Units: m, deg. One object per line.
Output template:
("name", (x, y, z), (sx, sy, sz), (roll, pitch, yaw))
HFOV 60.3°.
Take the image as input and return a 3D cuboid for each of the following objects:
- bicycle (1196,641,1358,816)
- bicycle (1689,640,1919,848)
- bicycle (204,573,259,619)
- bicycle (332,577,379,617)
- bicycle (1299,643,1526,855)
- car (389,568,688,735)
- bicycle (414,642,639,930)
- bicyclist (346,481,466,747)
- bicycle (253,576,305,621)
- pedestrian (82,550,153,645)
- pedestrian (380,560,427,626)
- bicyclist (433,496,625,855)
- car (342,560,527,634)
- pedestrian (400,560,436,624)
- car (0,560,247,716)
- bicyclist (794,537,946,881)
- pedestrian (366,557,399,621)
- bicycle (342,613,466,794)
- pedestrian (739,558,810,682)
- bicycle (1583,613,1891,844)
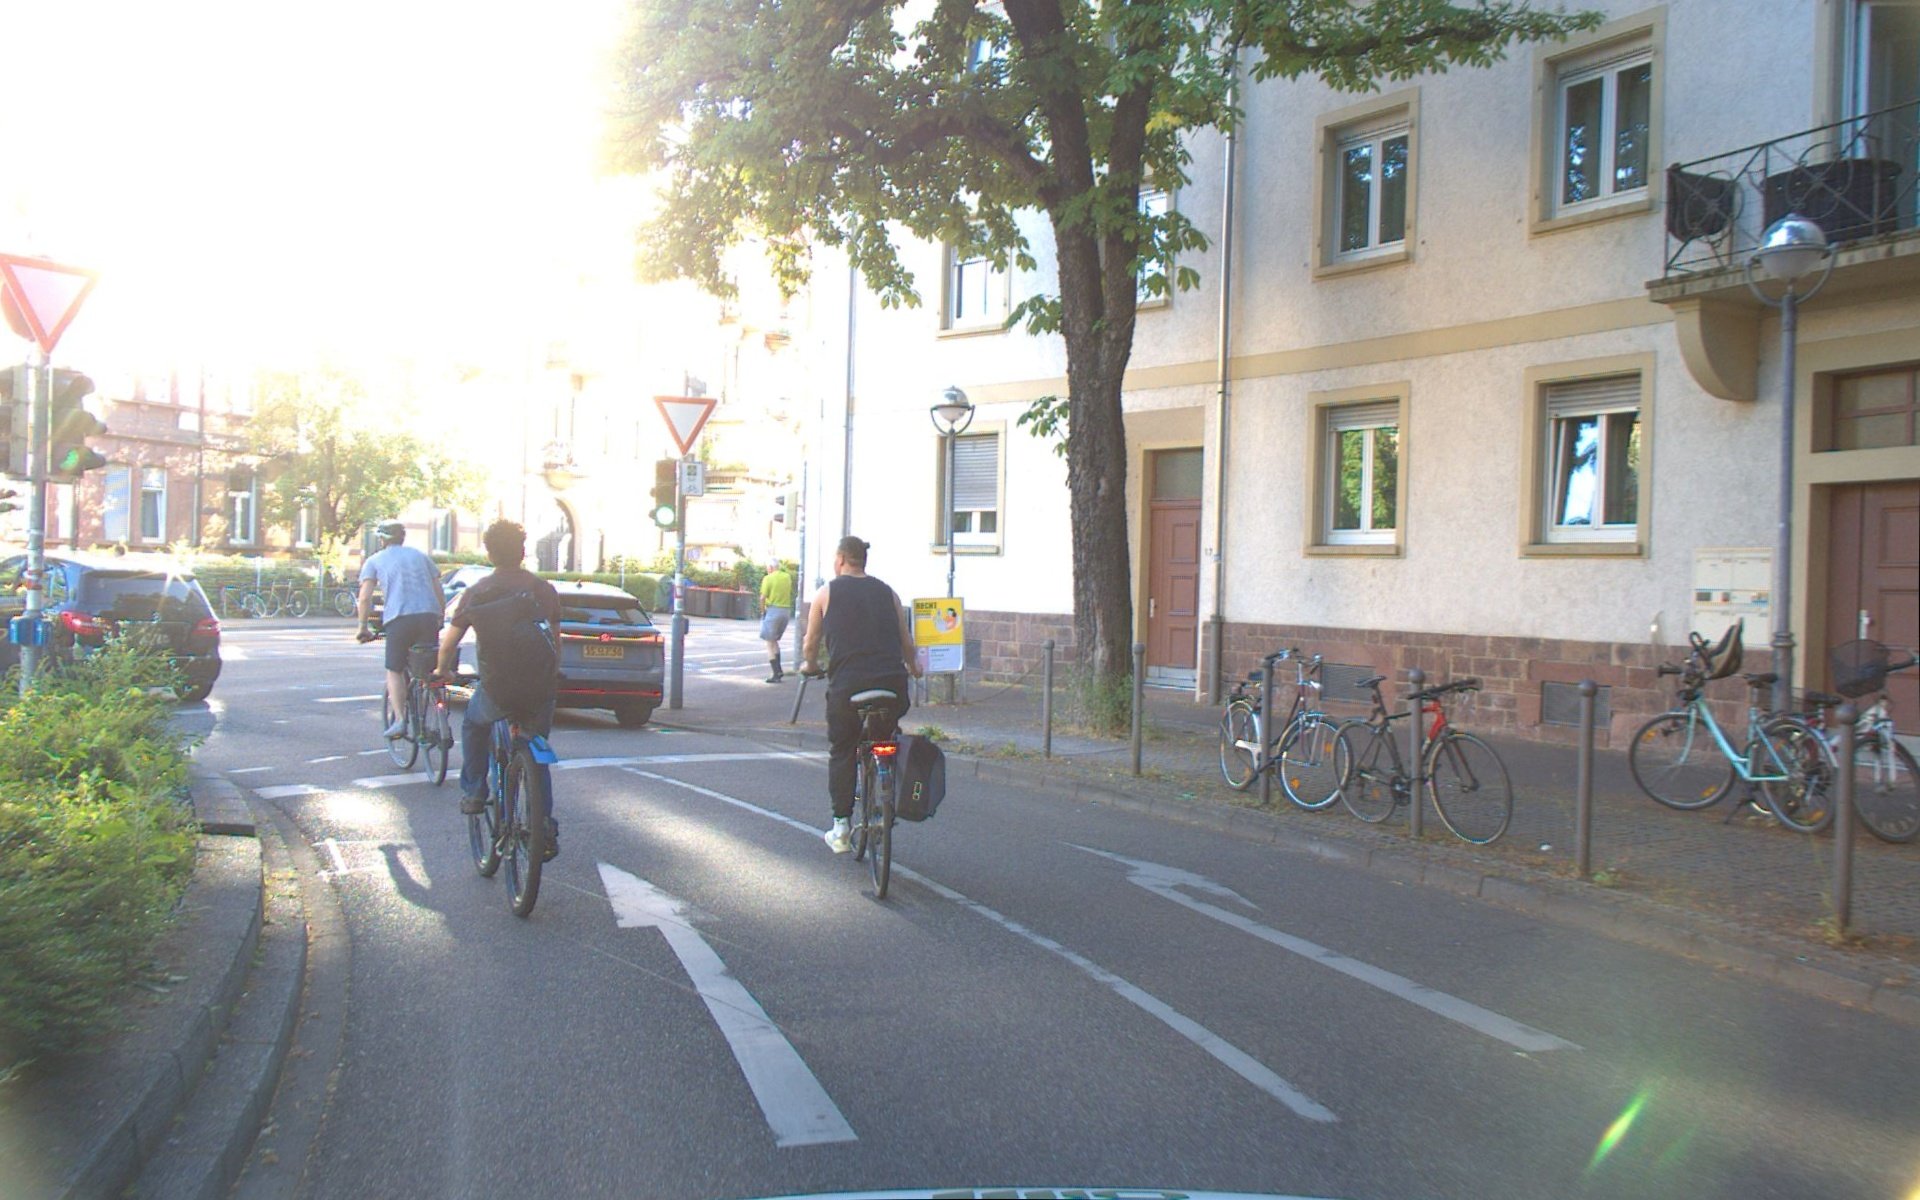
("bicycle", (2.267, 0.889, 12.009), (0.472, 1.082, 1.628), (-1, 2, -16))
("bicycle", (5.620, 0.869, 10.603), (0.656, 1.126, 1.960), (2, 0, -14))
("bicycle", (-18.402, -0.087, 41.786), (0.433, 1.126, 1.232), (3, 1, 28))
("bicycle", (-16.576, -0.082, 45.376), (0.433, 1.056, 1.232), (3, 1, 27))
("bicycle", (2.811, 0.881, 10.449), (0.518, 1.126, 1.732), (-1, 2, -18))
("car", (-4.971, 0.525, 19.051), (1.952, 1.613, 4.424), (4, -1, -33))
("bicycle", (-2.144, 0.815, 7.984), (0.708, 1.126, 1.952), (2, 0, -24))
("bicyclist", (-4.249, 0.110, 12.687), (0.782, 1.946, 0.940), (2, 0, -19))
("bicycle", (-17.719, -0.035, 43.034), (0.433, 1.126, 1.232), (3, 1, 28))
("pedestrian", (-15.419, -0.060, 30.284), (0.885, 1.663, 0.724), (4, 1, -9))
("pedestrian", (-14.910, -0.190, 44.302), (0.699, 1.693, 0.894), (5, 2, 39))
("bicyclist", (-2.089, 0.339, 7.955), (0.697, 1.601, 0.949), (2, 0, -25))
("car", (-12.824, -0.066, 40.626), (1.903, 1.679, 4.409), (2, 0, 22))
("pedestrian", (-14.944, -0.224, 45.588), (0.650, 1.745, 0.634), (2, 0, 35))
("car", (-9.815, 0.357, 18.500), (3.785, 1.569, 1.788), (1, 1, 38))
("bicyclist", (-0.488, 0.530, 8.627), (0.674, 1.685, 0.987), (0, 0, -10))
("pedestrian", (-15.869, -0.293, 45.459), (0.511, 1.745, 0.634), (2, 0, 35))
("bicycle", (-4.257, 0.739, 12.677), (0.797, 1.205, 2.215), (2, 0, -19))
("pedestrian", (-2.702, 0.269, 24.057), (0.639, 1.757, 0.875), (-2, 2, -41))
("bicycle", (4.925, 0.752, 10.649), (0.705, 1.299, 1.959), (0, 1, -15))
